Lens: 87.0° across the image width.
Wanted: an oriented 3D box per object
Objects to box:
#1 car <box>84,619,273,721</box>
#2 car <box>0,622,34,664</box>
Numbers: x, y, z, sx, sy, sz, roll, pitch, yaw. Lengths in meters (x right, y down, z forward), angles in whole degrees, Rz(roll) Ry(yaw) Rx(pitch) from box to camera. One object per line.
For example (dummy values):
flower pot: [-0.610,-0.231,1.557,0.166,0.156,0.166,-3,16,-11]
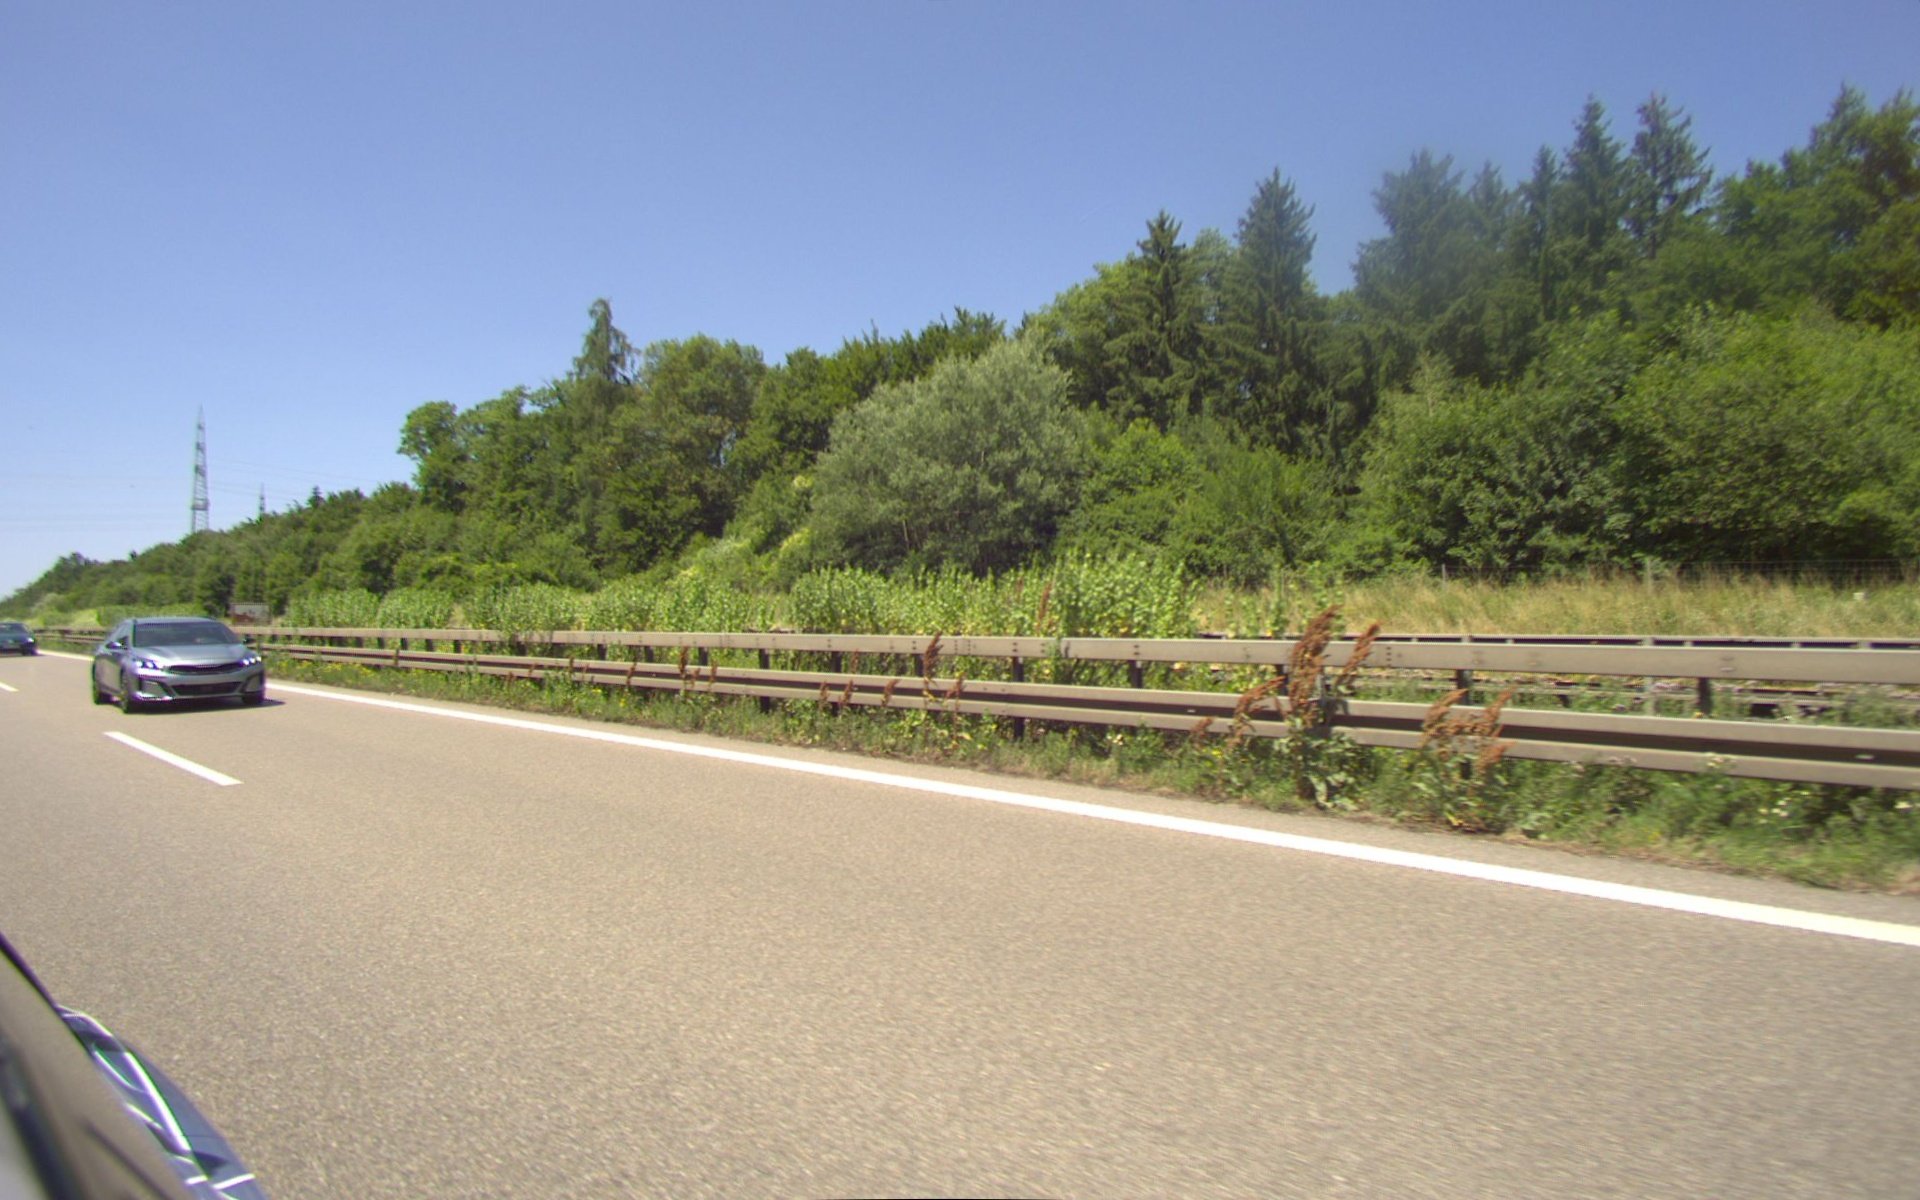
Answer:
car: [-12.919,1.063,16.652,3.998,1.419,1.745,-2,0,42]
car: [-39.528,1.773,41.589,3.941,1.632,1.719,-2,0,41]
